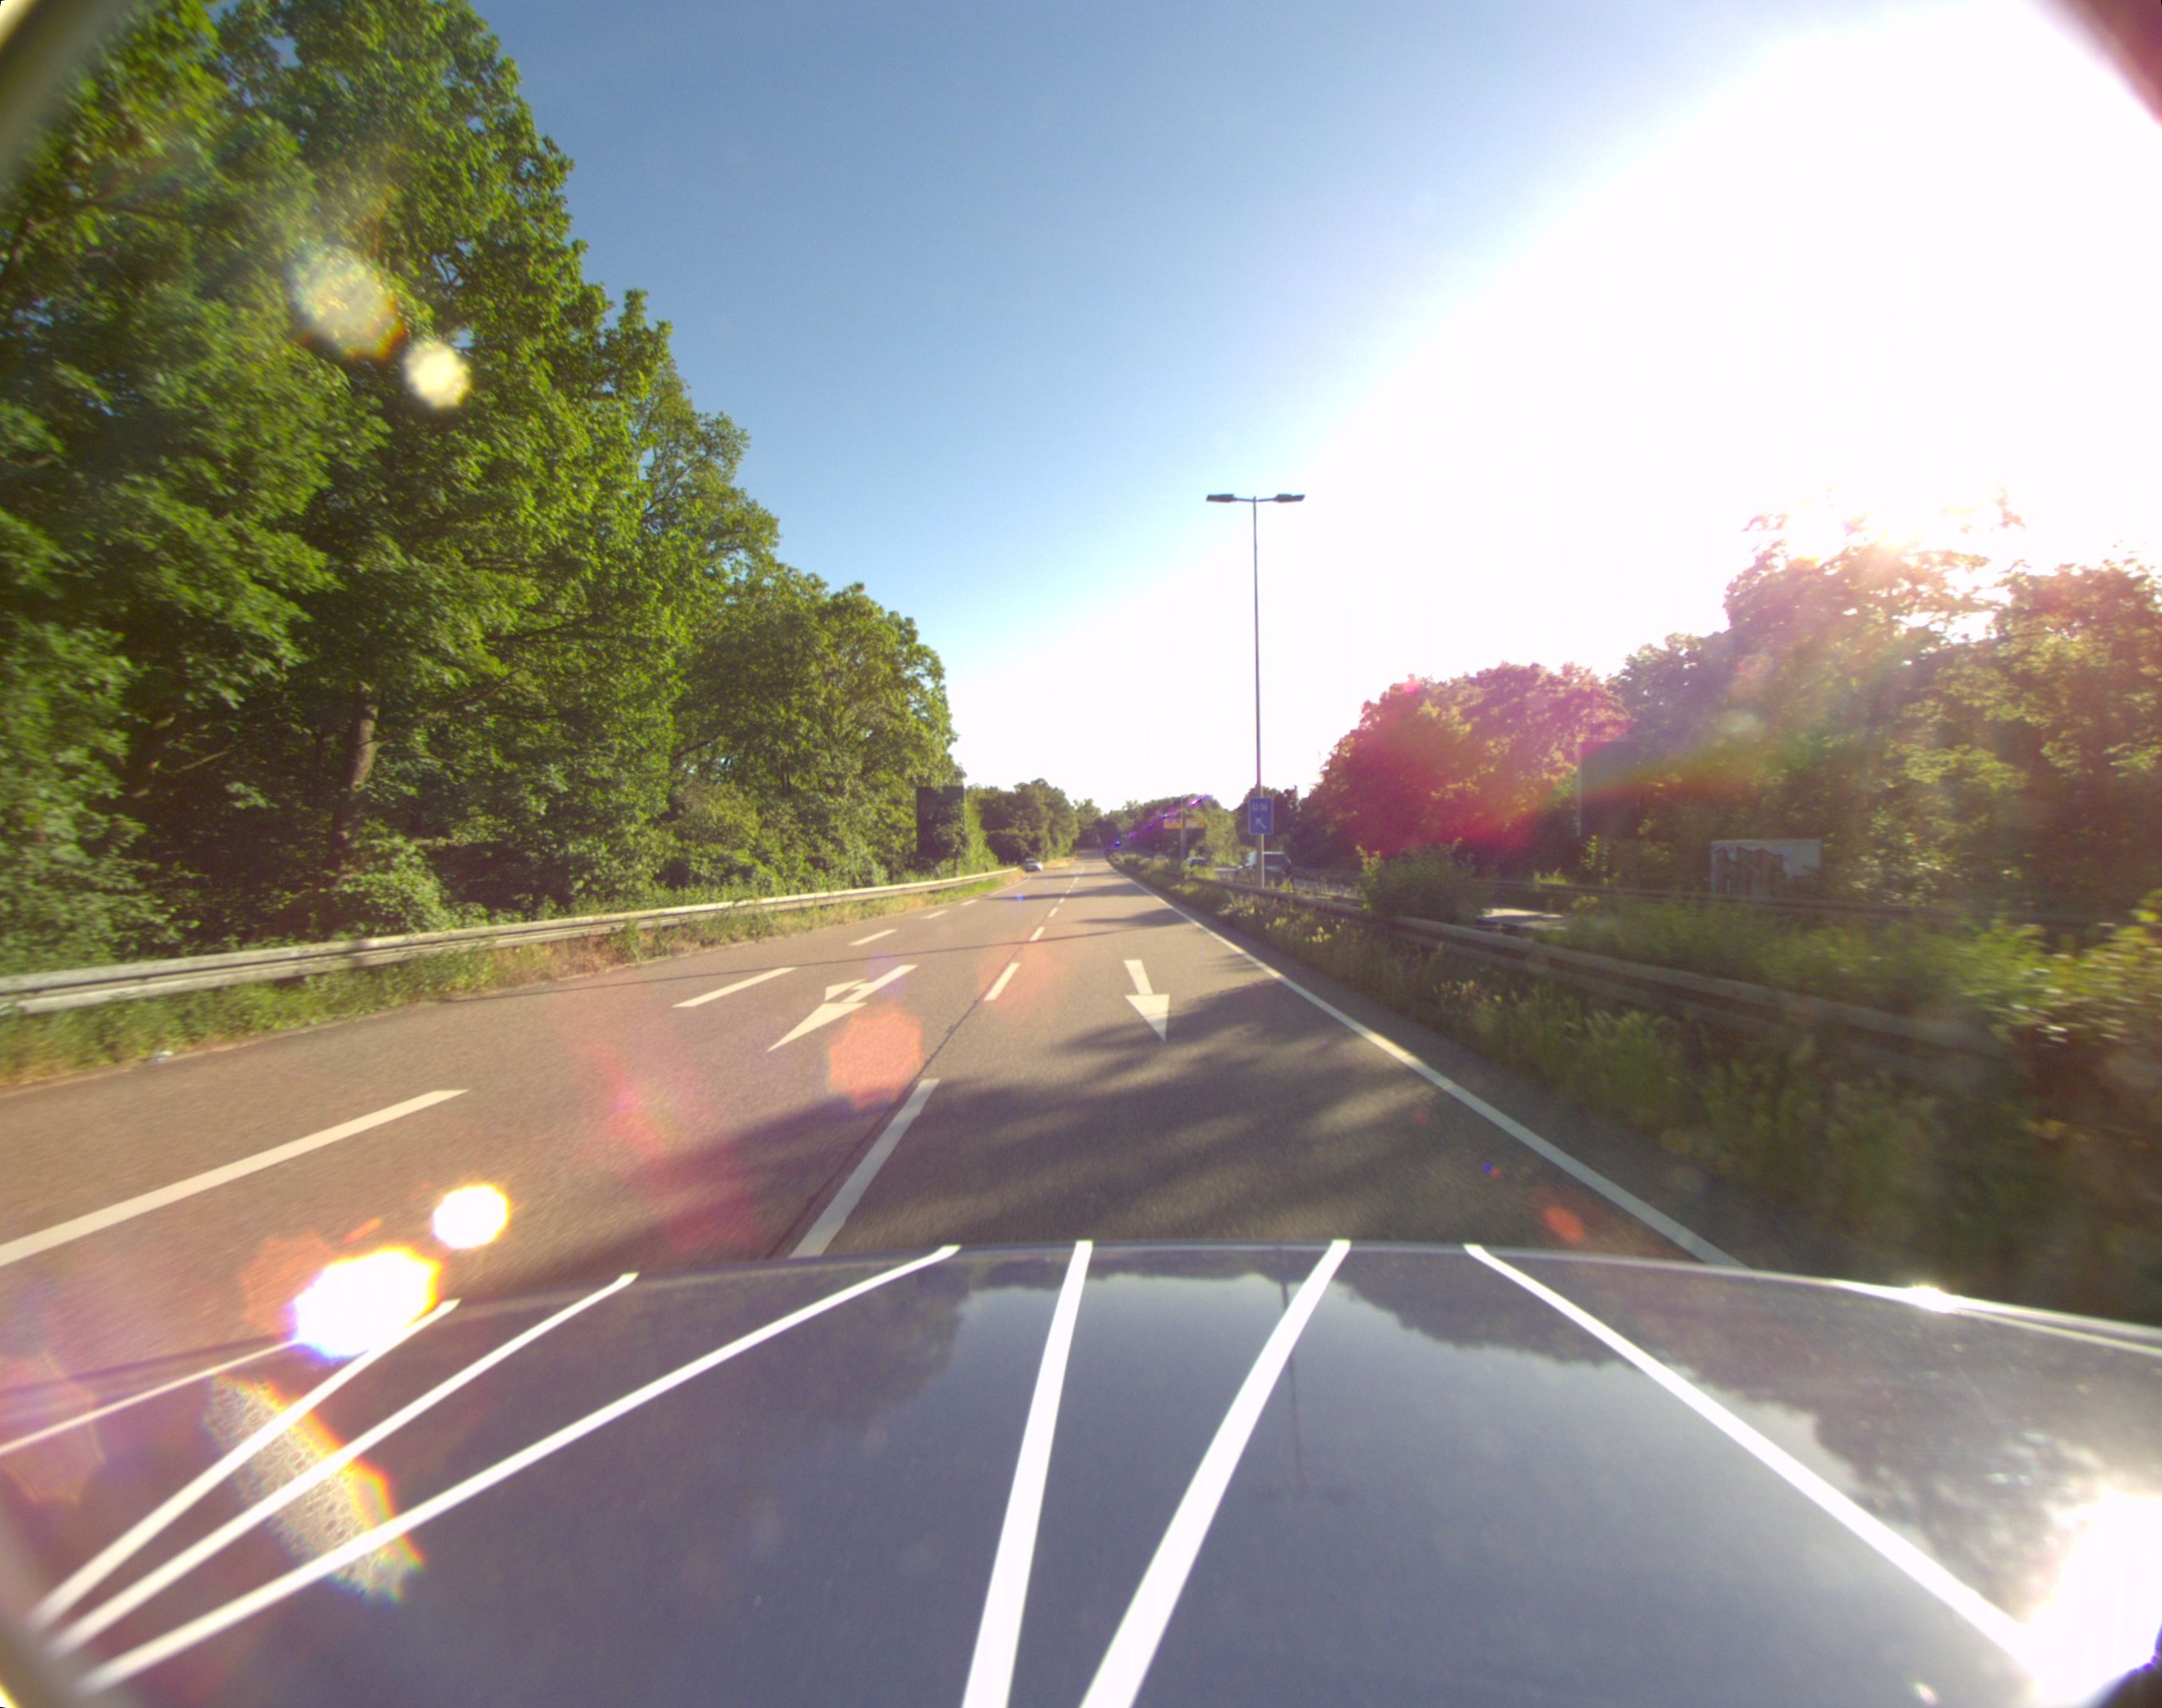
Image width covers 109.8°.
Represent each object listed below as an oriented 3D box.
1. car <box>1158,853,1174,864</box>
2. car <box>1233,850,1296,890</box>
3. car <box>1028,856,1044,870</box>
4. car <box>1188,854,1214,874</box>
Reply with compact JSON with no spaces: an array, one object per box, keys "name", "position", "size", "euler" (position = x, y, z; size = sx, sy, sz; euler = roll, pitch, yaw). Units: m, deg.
[{"name":"car","position":[11.135,0.522,99.973],"size":[1.785,1.395,4.553],"euler":[0,0,3]},{"name":"car","position":[8.462,0.674,35.436],"size":[1.846,1.747,4.712],"euler":[0,0,1]},{"name":"car","position":[-5.195,1.035,87.837],"size":[1.682,1.477,3.390],"euler":[0,0,0]},{"name":"car","position":[9.567,0.752,60.896],"size":[1.622,1.521,4.609],"euler":[0,0,3]}]
